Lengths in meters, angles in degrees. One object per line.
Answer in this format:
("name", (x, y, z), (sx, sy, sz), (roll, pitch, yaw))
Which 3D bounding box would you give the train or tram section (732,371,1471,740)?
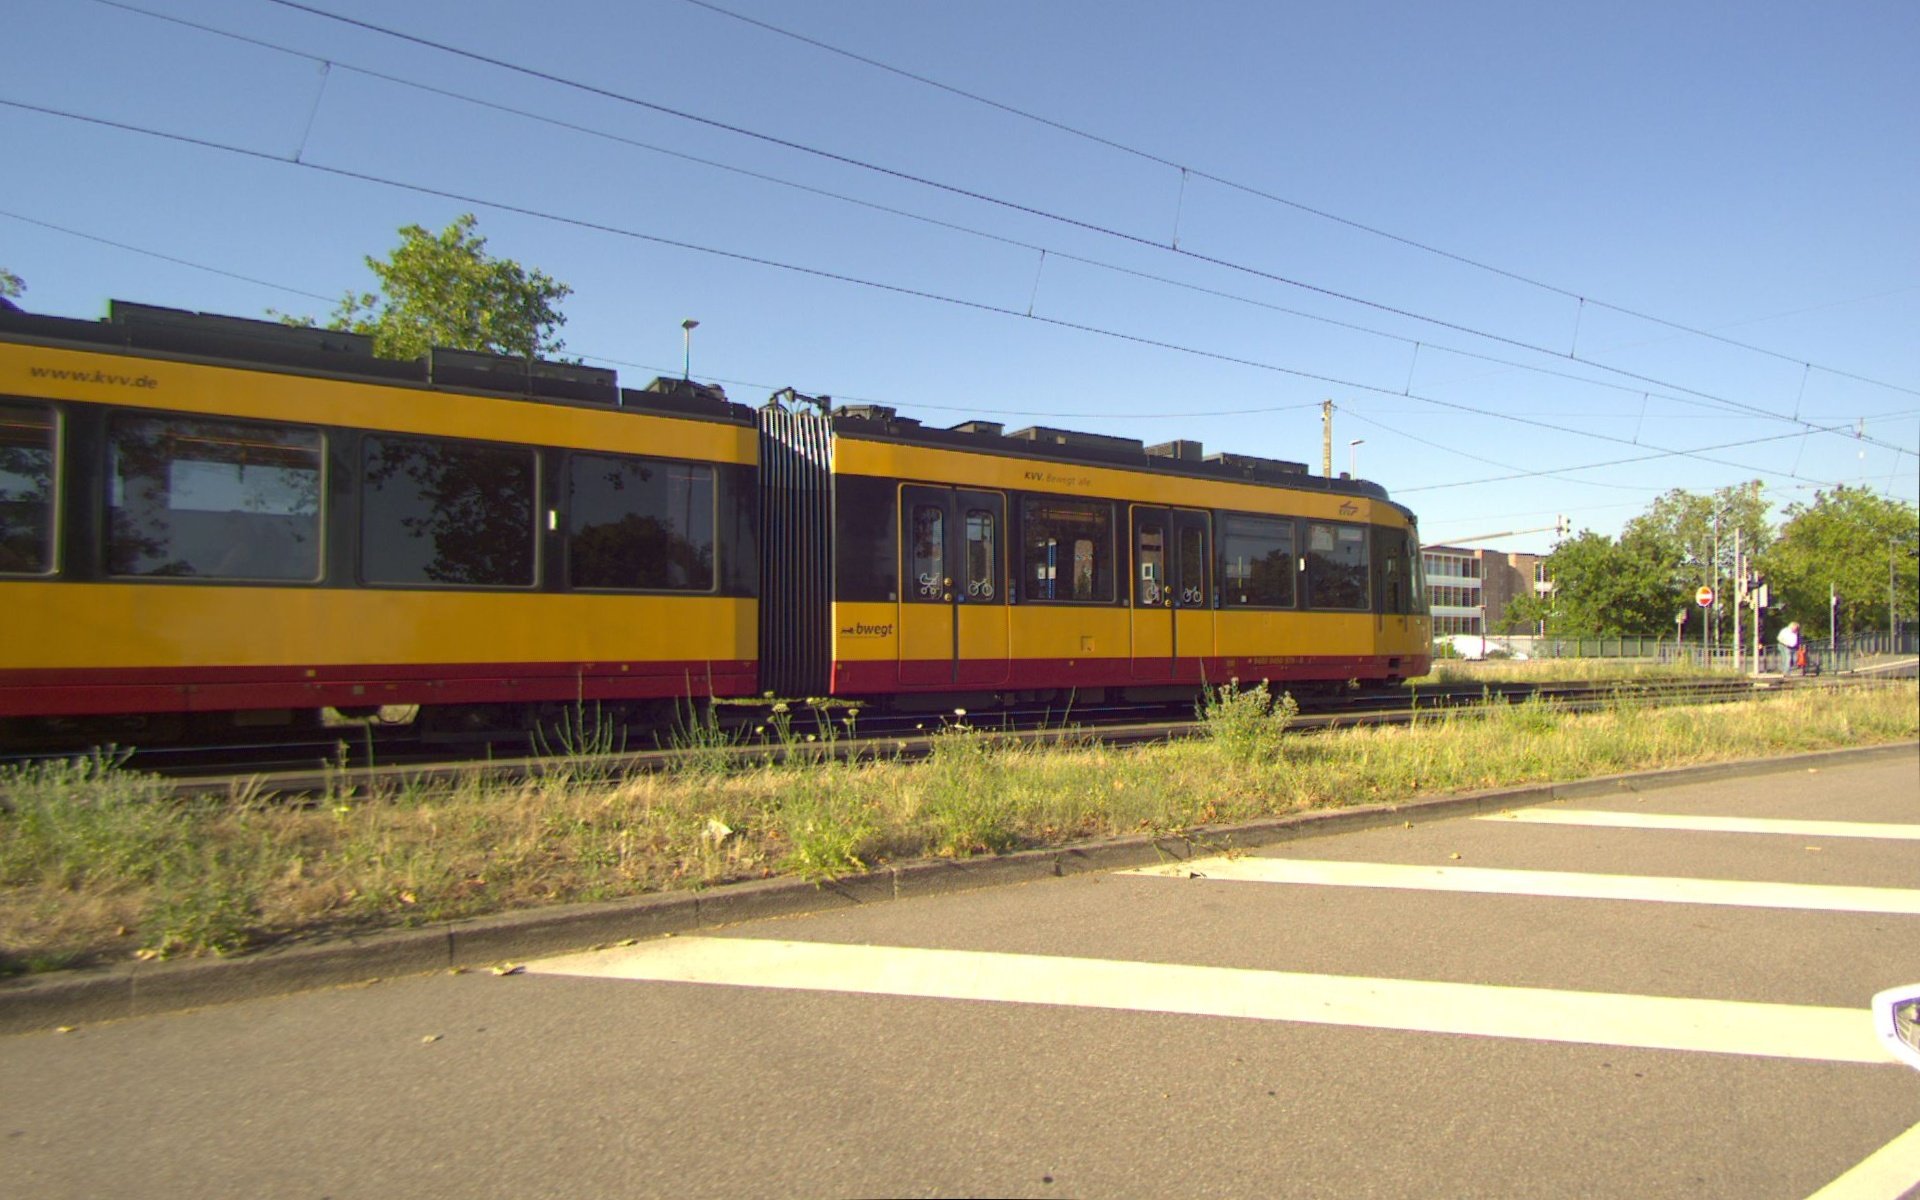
("train or tram section", (2.829, -0.359, 15.216), (11.973, 3.999, 2.869), (1, -1, -31))

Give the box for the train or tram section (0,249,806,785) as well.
("train or tram section", (-7.191, -0.593, 9.154), (11.210, 3.999, 2.869), (1, -1, -31))

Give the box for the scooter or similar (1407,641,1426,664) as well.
("scooter or similar", (22.095, 2.523, 48.603), (1.127, 1.110, 0.399), (2, -2, -42))

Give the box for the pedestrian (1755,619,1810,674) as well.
("pedestrian", (25.133, 1.415, 30.703), (0.968, 1.666, 0.892), (1, -1, -4))
